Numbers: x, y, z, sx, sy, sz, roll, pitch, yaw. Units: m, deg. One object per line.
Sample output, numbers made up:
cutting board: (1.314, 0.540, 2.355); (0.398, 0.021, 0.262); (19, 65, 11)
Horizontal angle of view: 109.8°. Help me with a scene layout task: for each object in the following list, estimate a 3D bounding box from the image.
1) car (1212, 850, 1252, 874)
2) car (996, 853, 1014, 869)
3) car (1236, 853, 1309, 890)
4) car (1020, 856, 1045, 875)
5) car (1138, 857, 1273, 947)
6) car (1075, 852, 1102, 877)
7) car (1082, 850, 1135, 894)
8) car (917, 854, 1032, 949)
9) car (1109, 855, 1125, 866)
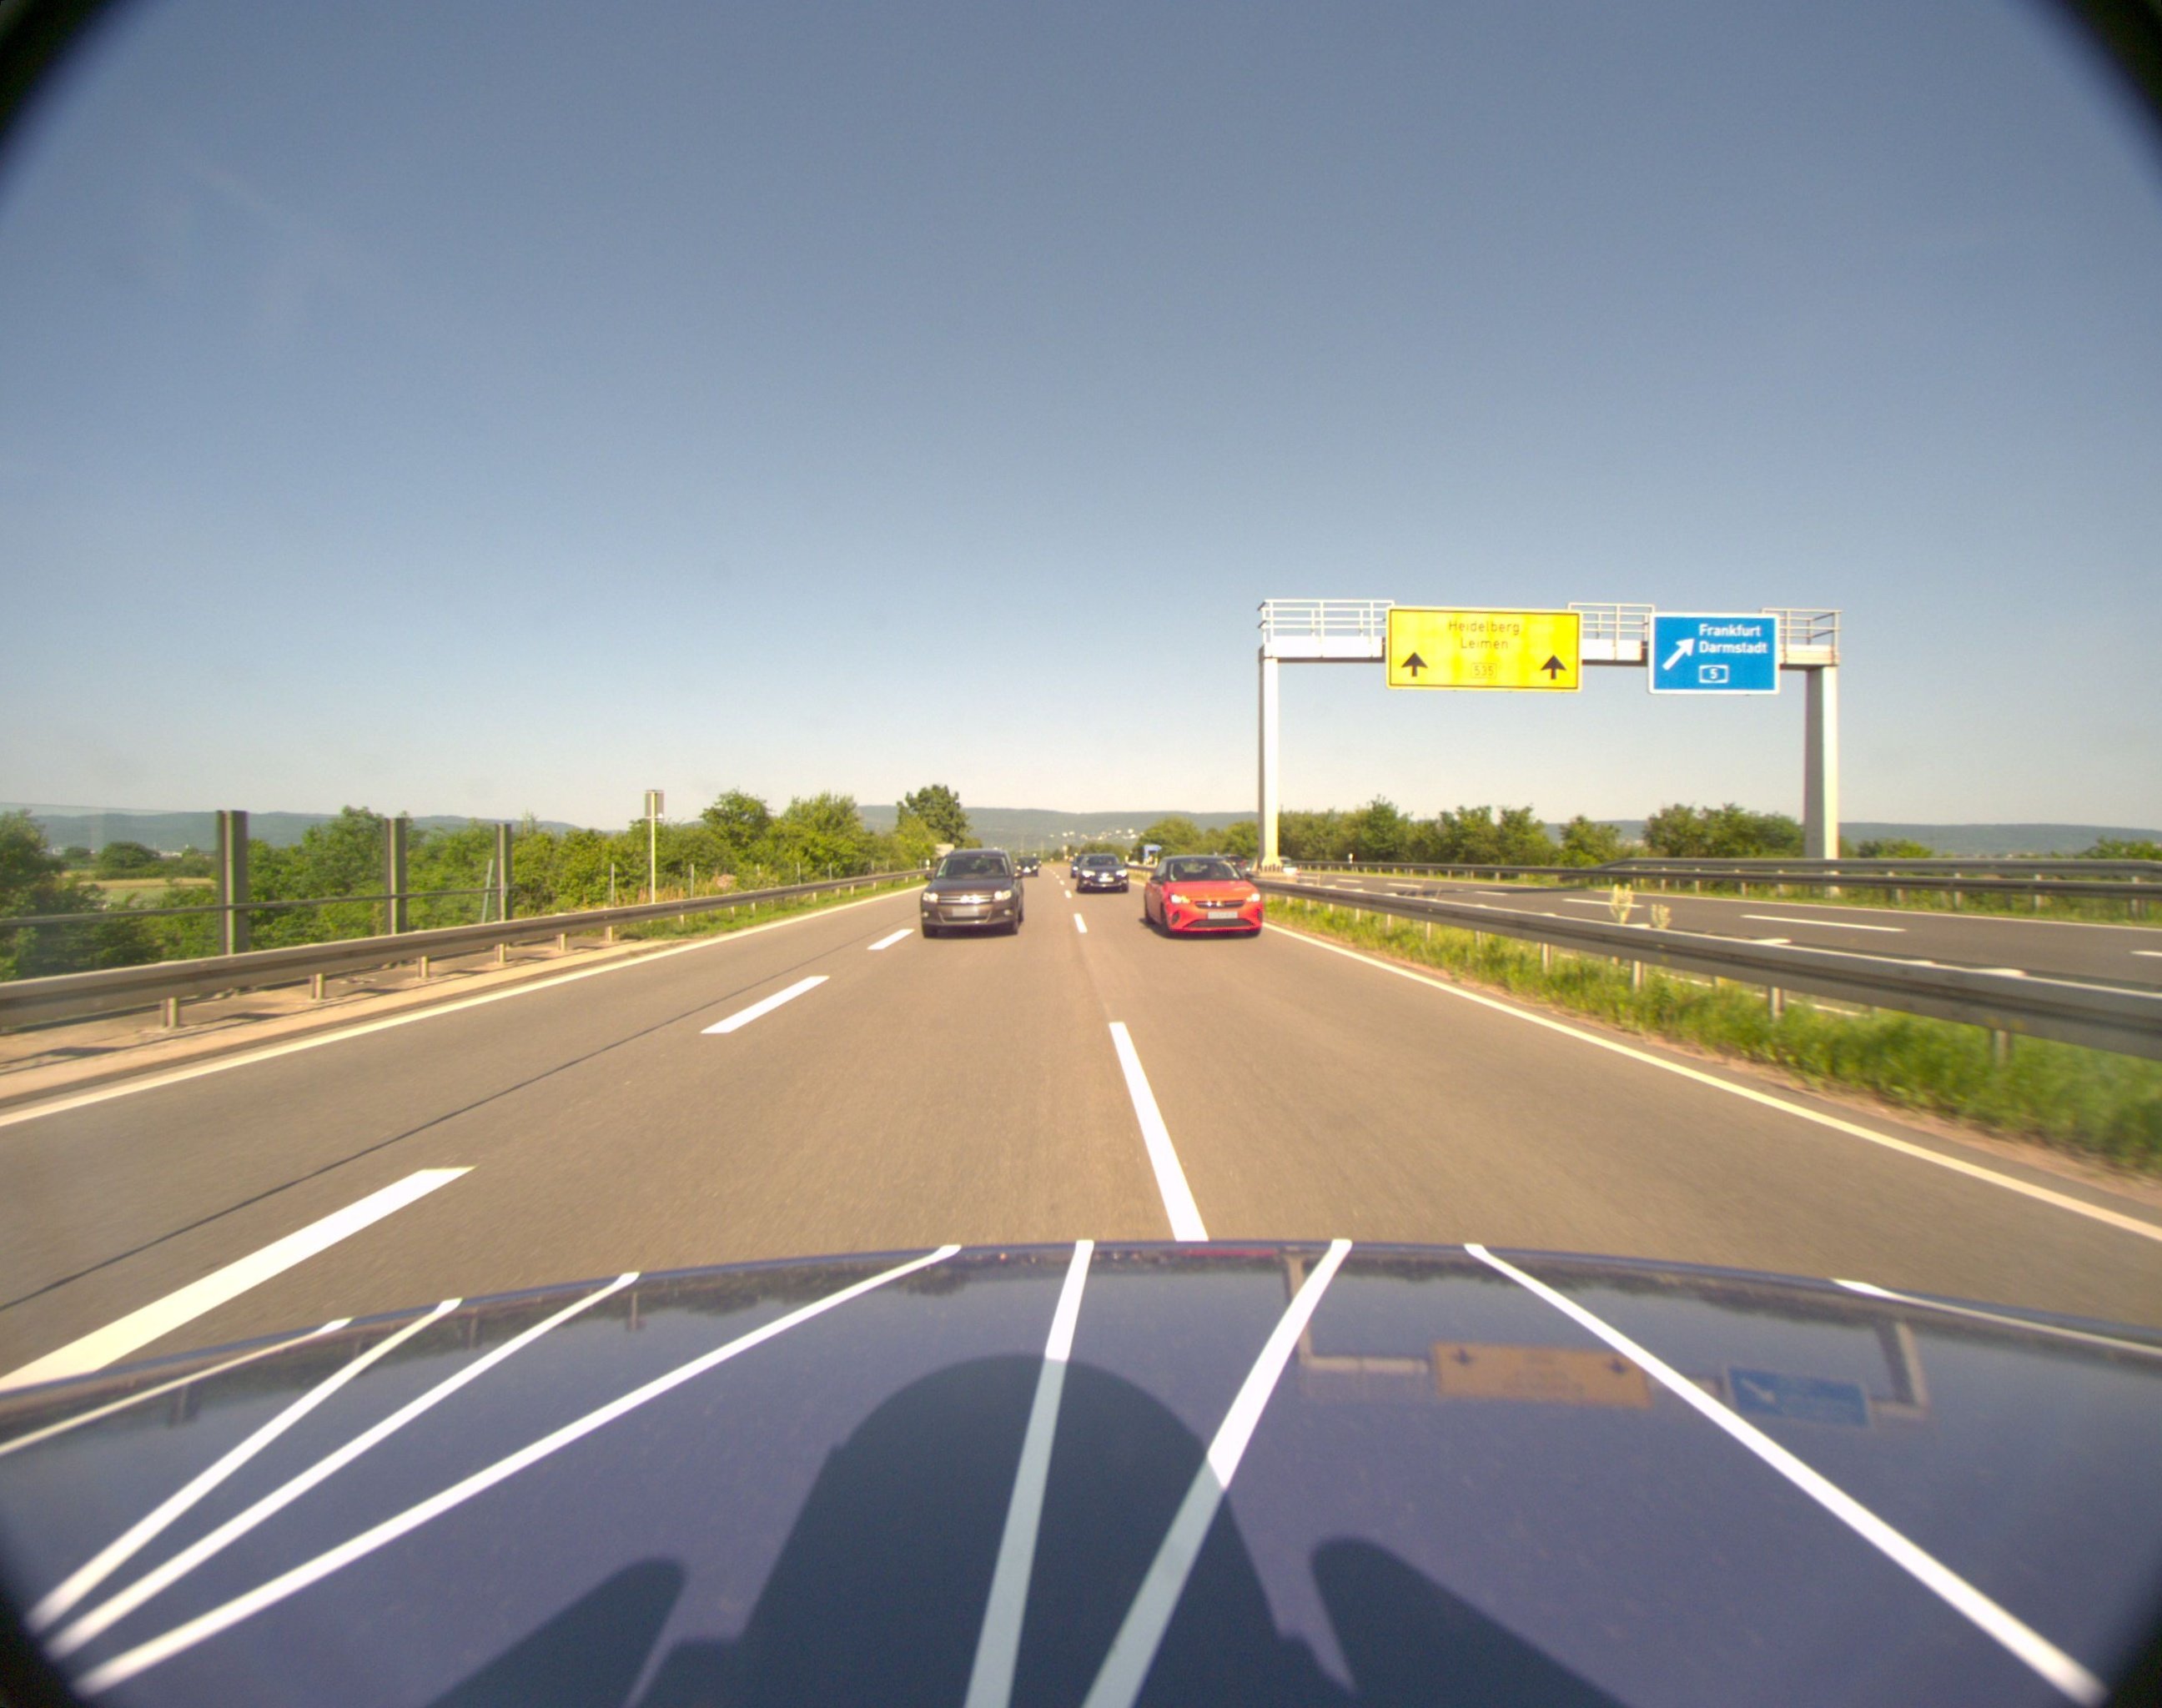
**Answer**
car: (9.945, 0.473, 50.457); (1.800, 1.465, 3.999); (-2, 0, 0)
car: (-8.527, 0.735, 85.152); (1.865, 1.656, 3.998); (-2, 0, -5)
car: (8.298, 0.718, 33.365); (1.879, 1.430, 4.501); (-2, 0, -2)
car: (-3.468, 0.817, 54.516); (1.601, 1.241, 3.999); (-2, 0, -2)
car: (2.222, 0.796, 14.695); (1.714, 1.429, 4.410); (-1, 0, -2)
car: (0.465, 0.662, 48.522); (1.652, 1.403, 3.774); (-2, 1, 0)
car: (0.994, 0.675, 29.608); (1.788, 1.524, 4.375); (-2, 0, -1)
car: (-2.055, 0.859, 15.754); (1.790, 1.637, 4.147); (-2, 0, -1)
car: (4.789, 0.870, 102.836); (1.715, 1.477, 4.264); (-2, 0, -3)
